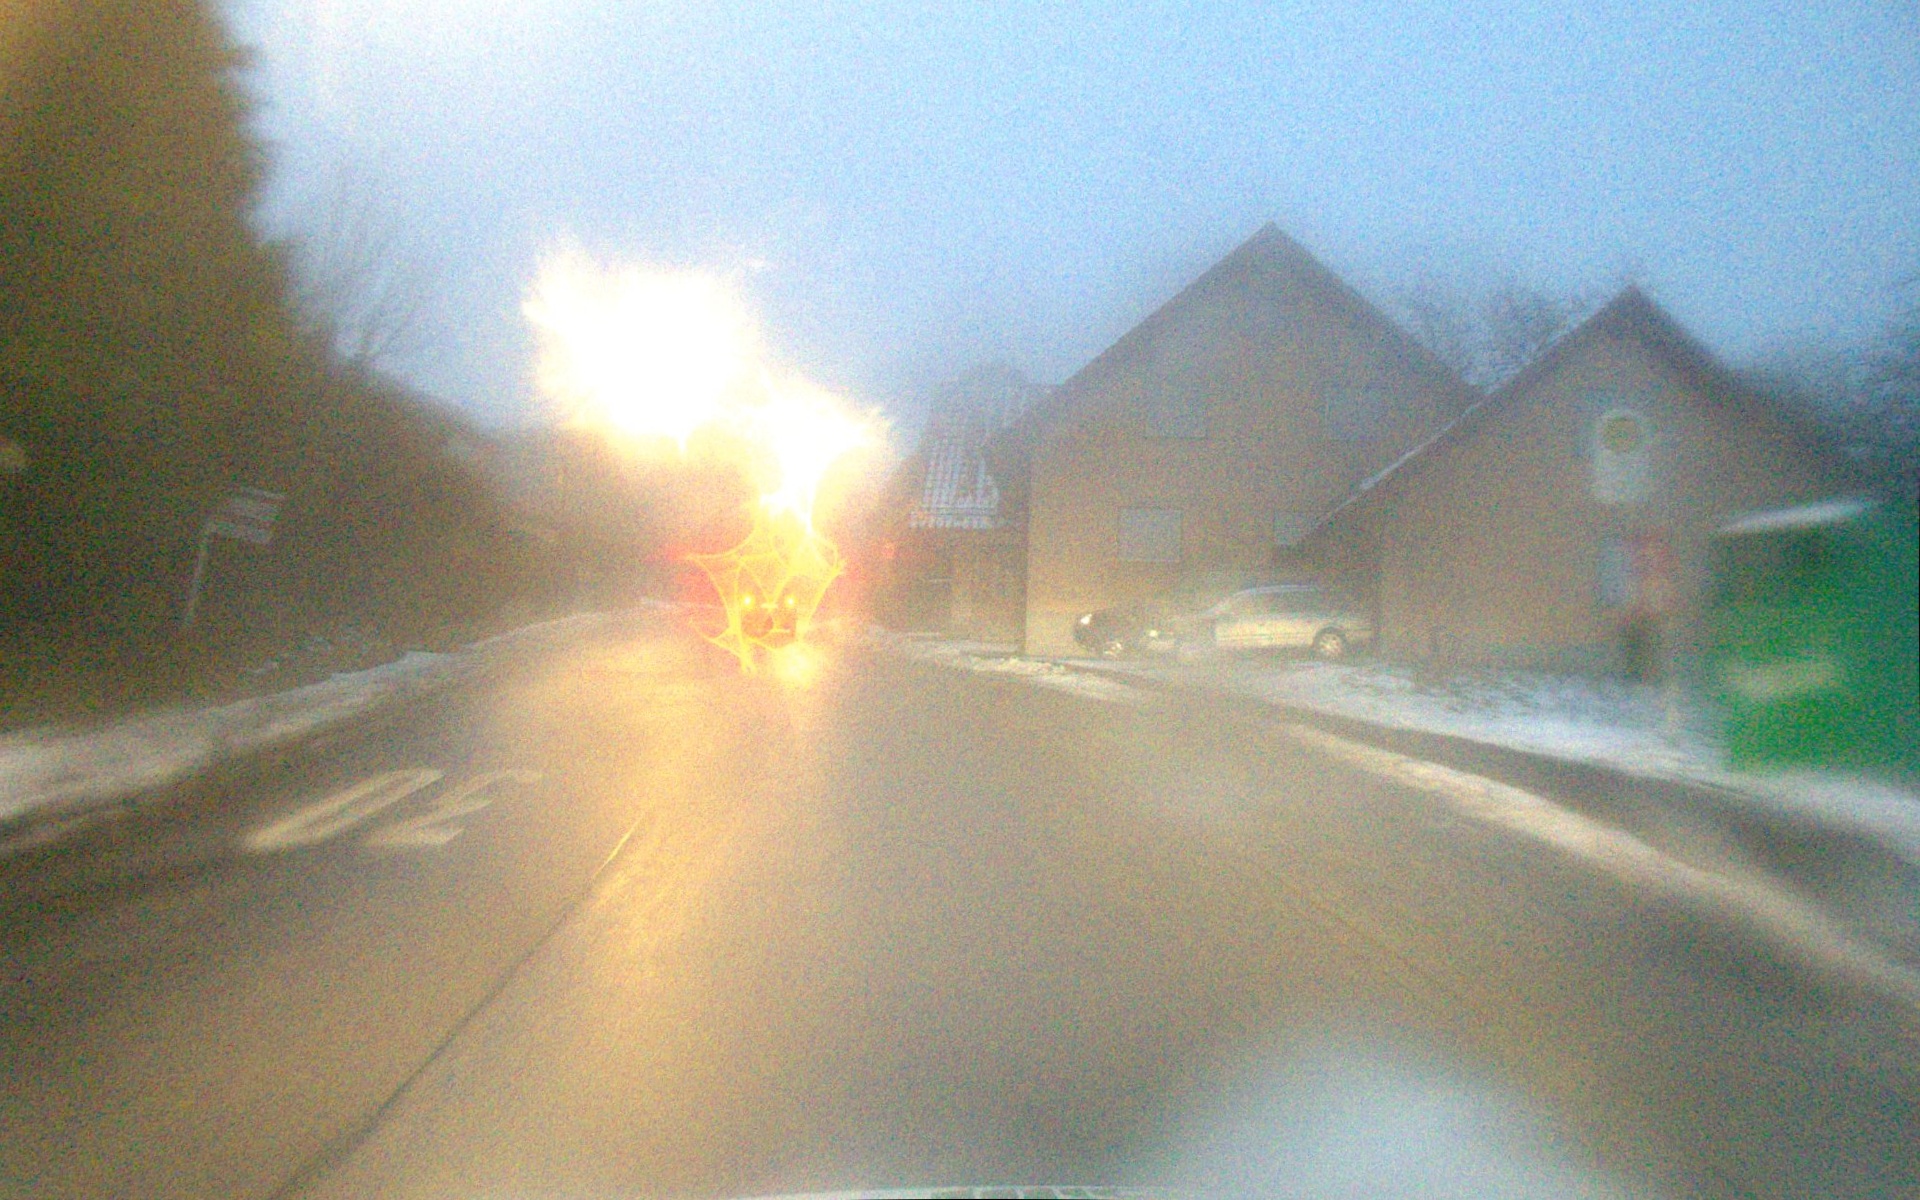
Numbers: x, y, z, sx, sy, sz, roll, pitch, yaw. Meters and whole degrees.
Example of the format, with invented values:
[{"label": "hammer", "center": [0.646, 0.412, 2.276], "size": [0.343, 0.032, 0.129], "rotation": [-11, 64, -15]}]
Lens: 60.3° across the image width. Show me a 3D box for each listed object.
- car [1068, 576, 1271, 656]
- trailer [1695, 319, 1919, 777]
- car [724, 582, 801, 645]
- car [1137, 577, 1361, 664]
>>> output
[{"label": "car", "center": [4.378, 0.355, 35.024], "size": [4.072, 1.587, 1.946], "rotation": [0, -3, 1]}, {"label": "trailer", "center": [8.926, -0.375, 14.119], "size": [2.818, 3.623, 5.058], "rotation": [1, -1, -4]}, {"label": "car", "center": [-6.081, 0.460, 50.562], "size": [1.959, 1.767, 3.865], "rotation": [0, -3, -13]}, {"label": "car", "center": [5.534, 0.428, 32.144], "size": [4.152, 1.587, 2.001], "rotation": [-1, -3, 6]}]
